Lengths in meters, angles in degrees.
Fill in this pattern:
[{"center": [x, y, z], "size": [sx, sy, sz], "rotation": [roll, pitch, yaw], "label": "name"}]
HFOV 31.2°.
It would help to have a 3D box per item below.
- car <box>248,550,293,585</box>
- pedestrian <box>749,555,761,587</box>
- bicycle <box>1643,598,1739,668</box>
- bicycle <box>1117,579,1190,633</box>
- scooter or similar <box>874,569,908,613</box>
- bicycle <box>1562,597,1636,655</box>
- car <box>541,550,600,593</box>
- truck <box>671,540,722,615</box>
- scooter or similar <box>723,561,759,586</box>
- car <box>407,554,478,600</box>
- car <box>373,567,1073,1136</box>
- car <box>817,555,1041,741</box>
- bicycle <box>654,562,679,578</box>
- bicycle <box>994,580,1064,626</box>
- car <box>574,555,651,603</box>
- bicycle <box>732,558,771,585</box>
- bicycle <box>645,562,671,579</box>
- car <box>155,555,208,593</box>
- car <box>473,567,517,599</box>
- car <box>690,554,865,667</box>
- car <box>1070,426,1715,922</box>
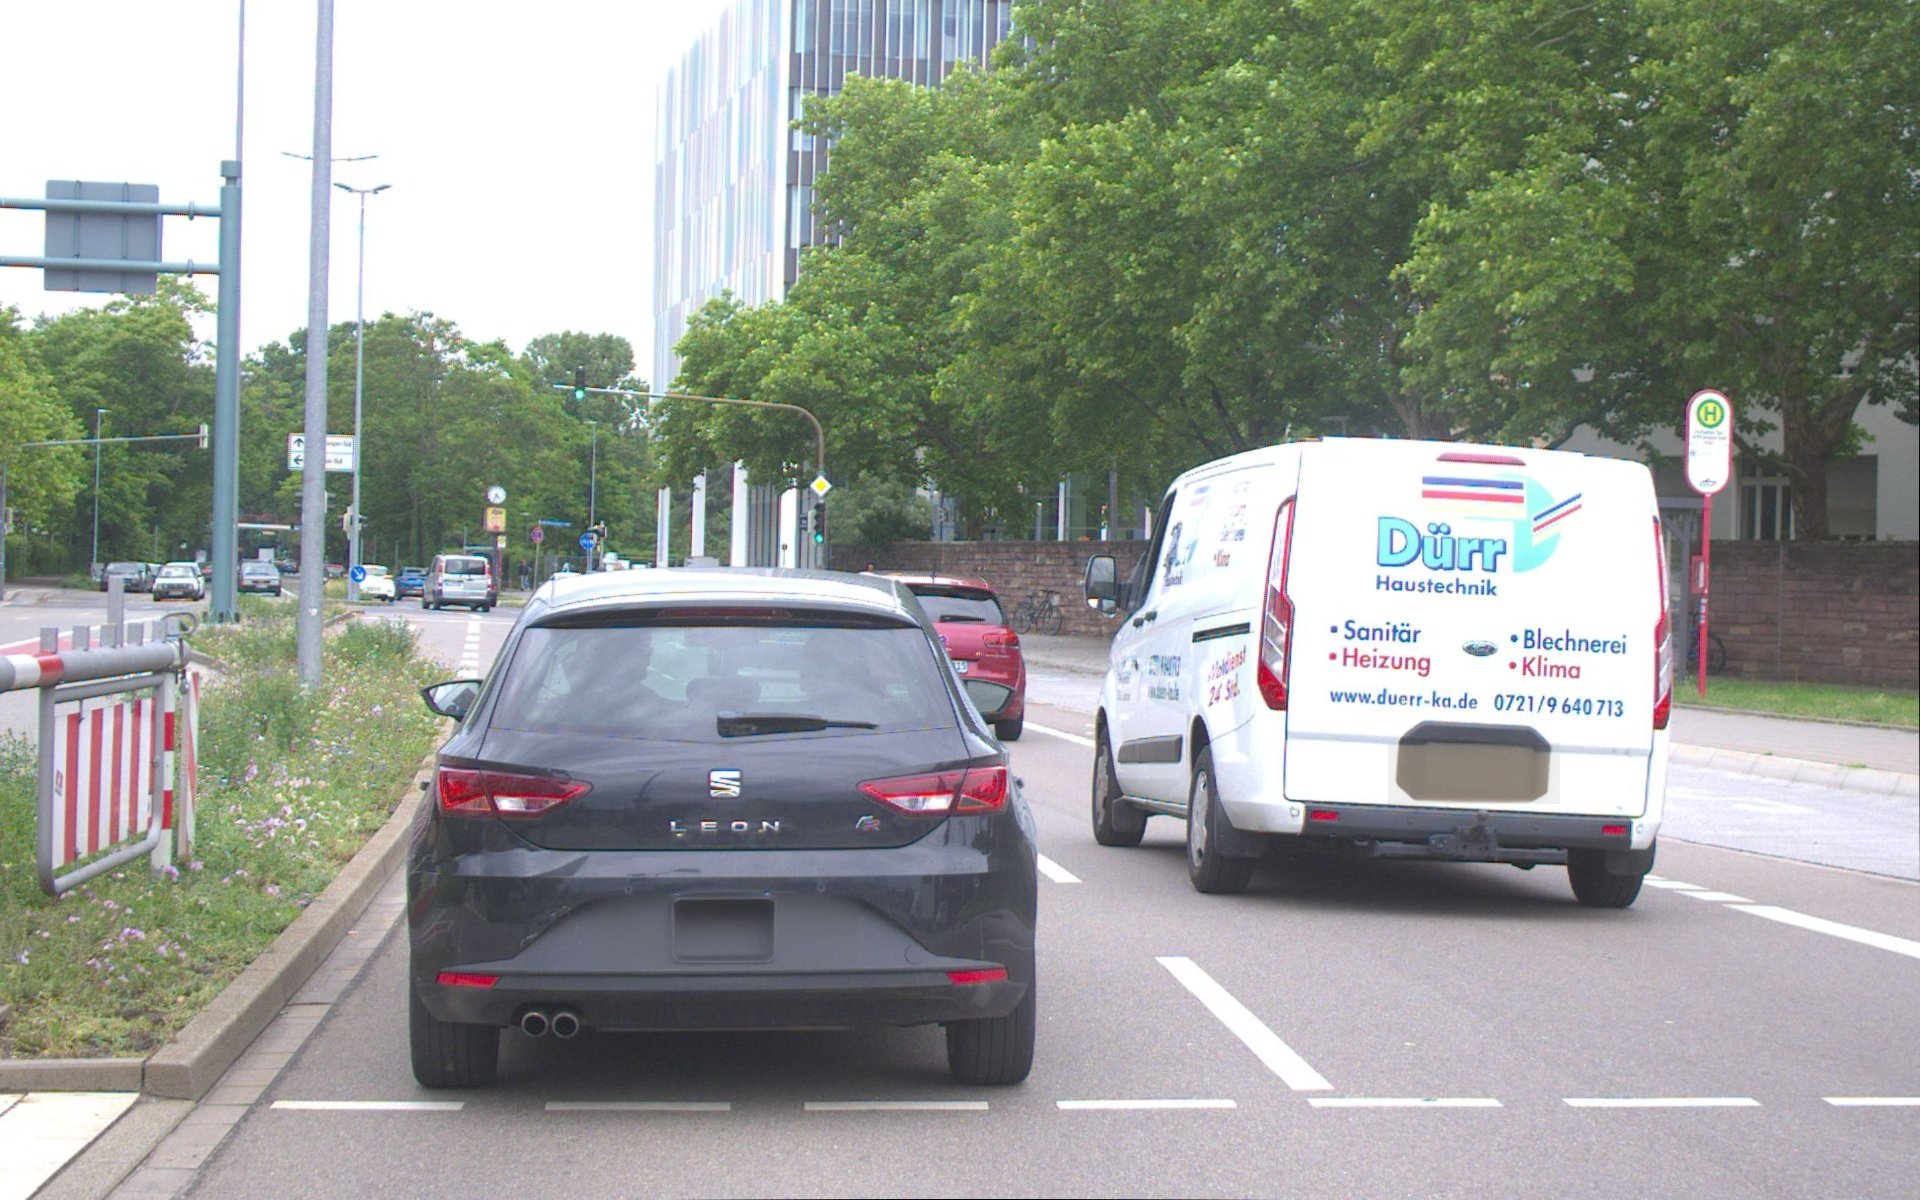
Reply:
[{"center": [-30.032, -1.412, 149.735], "size": [1.763, 1.455, 4.793], "rotation": [-1, 0, -13], "label": "car"}, {"center": [-8.750, -1.225, 146.876], "size": [0.472, 1.357, 0.445], "rotation": [0, 1, 2], "label": "pedestrian"}, {"center": [11.956, 0.529, 56.251], "size": [0.596, 1.100, 1.655], "rotation": [0, 1, -28], "label": "bicycle"}, {"center": [4.231, 0.122, 75.350], "size": [0.848, 1.123, 1.924], "rotation": [-1, 1, -23], "label": "bicycle"}, {"center": [-1.893, -0.257, 94.964], "size": [0.432, 1.175, 1.702], "rotation": [0, 1, 17], "label": "scooter or similar"}, {"center": [10.872, 0.434, 58.499], "size": [0.415, 0.939, 1.526], "rotation": [0, 1, -26], "label": "bicycle"}, {"center": [-12.967, -0.953, 114.283], "size": [1.615, 1.349, 4.001], "rotation": [0, 1, -11], "label": "car"}, {"center": [-8.086, -0.699, 105.380], "size": [1.317, 2.236, 3.402], "rotation": [0, 1, -8], "label": "truck"}, {"center": [-9.952, -1.202, 156.396], "size": [1.671, 1.103, 0.498], "rotation": [-1, 2, -39], "label": "scooter or similar"}, {"center": [-17.462, -0.795, 115.992], "size": [1.695, 1.498, 4.011], "rotation": [0, 1, -19], "label": "car"}, {"center": [-0.739, 0.637, 10.633], "size": [1.753, 1.427, 3.769], "rotation": [1, 0, -4], "label": "car"}, {"center": [-0.370, 0.430, 34.297], "size": [1.949, 1.618, 3.750], "rotation": [3, 1, -4], "label": "car"}, {"center": [-15.750, -1.609, 184.435], "size": [1.234, 0.820, 0.482], "rotation": [4, -1, -30], "label": "bicycle"}, {"center": [1.647, 0.069, 82.388], "size": [0.939, 1.069, 1.970], "rotation": [-1, 1, -23], "label": "bicycle"}, {"center": [-10.327, -0.634, 102.065], "size": [1.898, 1.349, 3.884], "rotation": [0, 1, -11], "label": "car"}, {"center": [-9.461, -1.305, 155.876], "size": [1.773, 1.207, 0.569], "rotation": [-1, 2, -42], "label": "bicycle"}, {"center": [-16.351, -1.612, 186.157], "size": [1.258, 0.845, 0.482], "rotation": [4, -1, -30], "label": "bicycle"}, {"center": [-29.185, -0.975, 128.982], "size": [1.607, 1.376, 3.809], "rotation": [0, 1, -8], "label": "car"}, {"center": [-18.273, -0.680, 135.151], "size": [1.504, 1.189, 3.164], "rotation": [0, 1, -11], "label": "car"}, {"center": [-2.897, 0.123, 53.731], "size": [1.914, 1.658, 4.116], "rotation": [0, 1, -15], "label": "car"}, {"center": [1.839, 0.310, 16.128], "size": [1.966, 1.965, 4.344], "rotation": [2, 0, -7], "label": "car"}]
